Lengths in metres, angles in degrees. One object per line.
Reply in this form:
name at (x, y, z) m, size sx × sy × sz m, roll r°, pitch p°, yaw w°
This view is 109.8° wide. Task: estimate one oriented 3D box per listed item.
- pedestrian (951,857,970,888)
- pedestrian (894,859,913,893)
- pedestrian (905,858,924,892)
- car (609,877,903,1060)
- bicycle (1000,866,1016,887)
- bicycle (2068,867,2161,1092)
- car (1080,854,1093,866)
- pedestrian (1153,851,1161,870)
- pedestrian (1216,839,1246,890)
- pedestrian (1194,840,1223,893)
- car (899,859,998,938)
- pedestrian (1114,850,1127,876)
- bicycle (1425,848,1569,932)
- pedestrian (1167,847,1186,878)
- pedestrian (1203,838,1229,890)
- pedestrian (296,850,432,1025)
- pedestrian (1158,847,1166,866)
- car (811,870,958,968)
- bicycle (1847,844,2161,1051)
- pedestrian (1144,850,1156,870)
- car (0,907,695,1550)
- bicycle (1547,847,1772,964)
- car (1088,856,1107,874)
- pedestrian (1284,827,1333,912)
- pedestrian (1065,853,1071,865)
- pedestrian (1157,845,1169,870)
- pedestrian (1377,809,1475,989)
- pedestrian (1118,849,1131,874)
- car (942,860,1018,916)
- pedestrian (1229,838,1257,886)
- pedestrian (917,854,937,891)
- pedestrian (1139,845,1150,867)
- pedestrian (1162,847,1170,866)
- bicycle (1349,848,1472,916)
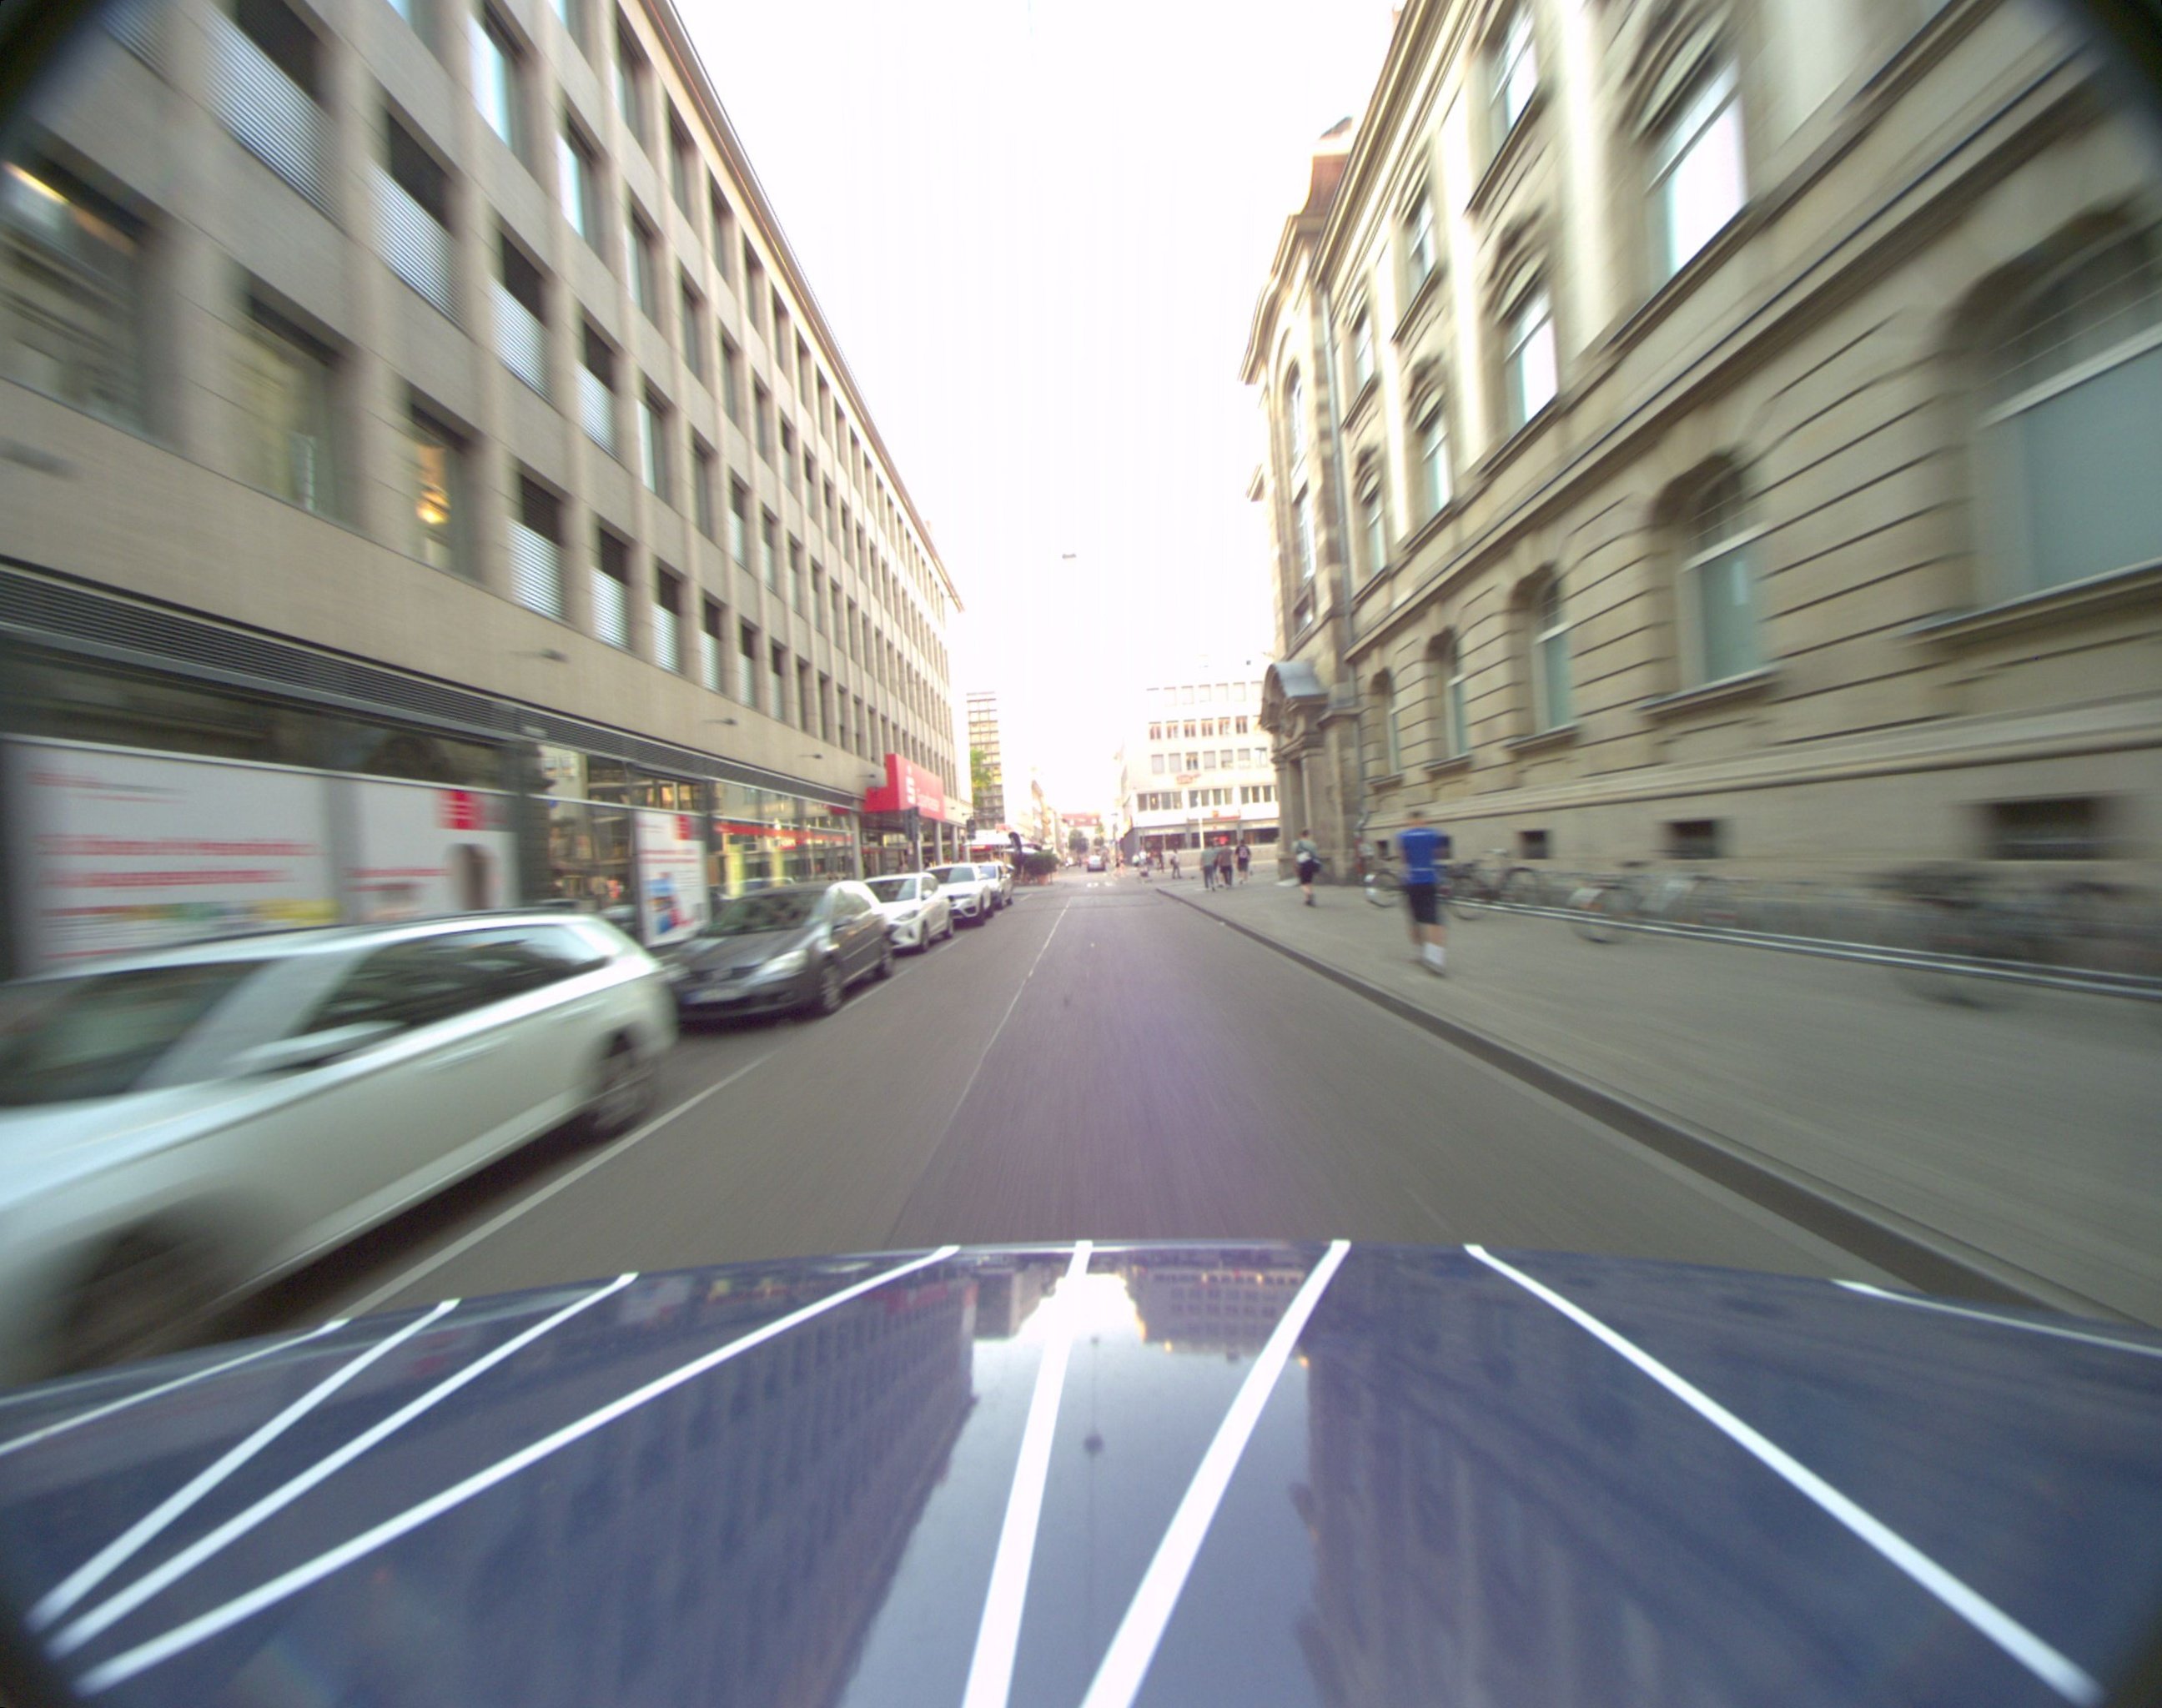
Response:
pedestrian at (-7.003, 1.088, 44.096) m, size 0.801 × 1.751 × 0.685 m, roll -3°, pitch 0°, yaw -35°
pedestrian at (-9.472, 1.147, 40.532) m, size 0.799 × 1.751 × 0.687 m, roll -3°, pitch 0°, yaw -2°
pedestrian at (-9.080, 1.138, 41.444) m, size 0.799 × 1.751 × 0.687 m, roll -3°, pitch 0°, yaw -1°
car at (-3.607, 1.160, 9.442) m, size 1.661 × 1.439 × 4.444 m, roll -5°, pitch 1°, yaw 0°
bicycle at (-3.765, 1.155, 39.368) m, size 0.330 × 1.027 × 1.865 m, roll -3°, pitch 0°, yaw 10°
bicycle at (6.353, 0.571, 3.827) m, size 1.943 × 1.072 × 0.730 m, roll -5°, pitch 1°, yaw -6°
car at (0.862, 0.918, 119.261) m, size 1.798 × 1.705 × 4.001 m, roll -3°, pitch 0°, yaw 2°
pedestrian at (6.894, 0.614, 69.143) m, size 0.545 × 1.698 × 0.558 m, roll -4°, pitch 1°, yaw 1°
pedestrian at (5.156, 0.370, 26.180) m, size 0.731 × 1.658 × 0.858 m, roll -7°, pitch 0°, yaw 4°
pedestrian at (4.394, 0.429, 26.181) m, size 0.727 × 1.732 × 0.839 m, roll -7°, pitch 0°, yaw 4°
car at (-3.405, 1.074, 20.473) m, size 1.780 × 1.656 × 4.812 m, roll -5°, pitch 1°, yaw -1°
pedestrian at (2.659, 0.594, 51.077) m, size 0.795 × 1.679 × 0.769 m, roll -3°, pitch 0°, yaw 3°
bicycle at (6.543, 0.544, 11.956) m, size 2.026 × 1.072 × 0.729 m, roll -6°, pitch 1°, yaw -18°
pedestrian at (5.178, 0.462, 41.069) m, size 0.742 × 1.649 × 0.754 m, roll -3°, pitch 0°, yaw 26°
pedestrian at (4.966, 0.345, 28.001) m, size 0.718 × 1.819 × 0.870 m, roll -7°, pitch 0°, yaw 8°
pedestrian at (-6.983, 0.780, 7.430) m, size 0.650 × 1.626 × 0.650 m, roll -2°, pitch 1°, yaw 0°
pedestrian at (7.250, 0.203, 67.650) m, size 0.545 × 1.698 × 0.558 m, roll -4°, pitch 1°, yaw 1°
car at (-3.692, 1.166, 14.993) m, size 1.660 × 1.439 × 3.869 m, roll -5°, pitch 1°, yaw 2°
bicycle at (6.358, 0.559, 5.016) m, size 1.943 × 1.072 × 0.730 m, roll -5°, pitch 1°, yaw -6°
pedestrian at (5.561, 0.506, 61.576) m, size 0.676 × 1.532 × 0.641 m, roll -4°, pitch 1°, yaw -19°
car at (-3.766, 1.197, 3.470) m, size 1.661 × 1.439 × 4.307 m, roll -5°, pitch 1°, yaw 1°
bicycle at (6.441, 0.551, 8.512) m, size 1.942 × 1.072 × 0.730 m, roll -5°, pitch 1°, yaw -3°
car at (1.710, 1.096, 79.724) m, size 1.824 × 1.728 × 4.000 m, roll -3°, pitch 0°, yaw 0°
pedestrian at (4.965, 0.336, 16.615) m, size 0.719 × 1.770 × 0.800 m, roll -5°, pitch 1°, yaw 2°
pedestrian at (-1.855, 0.715, 109.139) m, size 0.649 × 1.651 × 0.650 m, roll -3°, pitch 0°, yaw 2°
pedestrian at (5.604, 0.251, 51.963) m, size 0.732 × 1.679 × 0.746 m, roll -3°, pitch 0°, yaw 3°
pedestrian at (3.628, 0.460, 8.026) m, size 0.776 × 1.778 × 0.821 m, roll -4°, pitch 1°, yaw 24°
pedestrian at (2.967, 0.505, 51.832) m, size 0.795 × 1.679 × 0.769 m, roll -3°, pitch 0°, yaw 3°
car at (-3.373, 1.077, 26.297) m, size 1.744 × 1.589 × 4.714 m, roll -5°, pitch 0°, yaw 1°
pedestrian at (5.911, 0.284, 27.725) m, size 0.757 × 1.632 × 0.749 m, roll -7°, pitch 0°, yaw 8°
pedestrian at (-8.184, 0.990, 40.407) m, size 0.799 × 1.907 × 0.687 m, roll -3°, pitch 0°, yaw 0°
pedestrian at (5.561, 0.181, 66.601) m, size 0.783 × 1.881 × 0.642 m, roll -3°, pitch 1°, yaw 1°
pedestrian at (7.719, 0.265, 69.332) m, size 0.545 × 1.698 × 0.558 m, roll -4°, pitch 1°, yaw 1°
bicycle at (6.406, 0.530, 14.833) m, size 2.024 × 1.102 × 0.730 m, roll -5°, pitch 1°, yaw -5°
